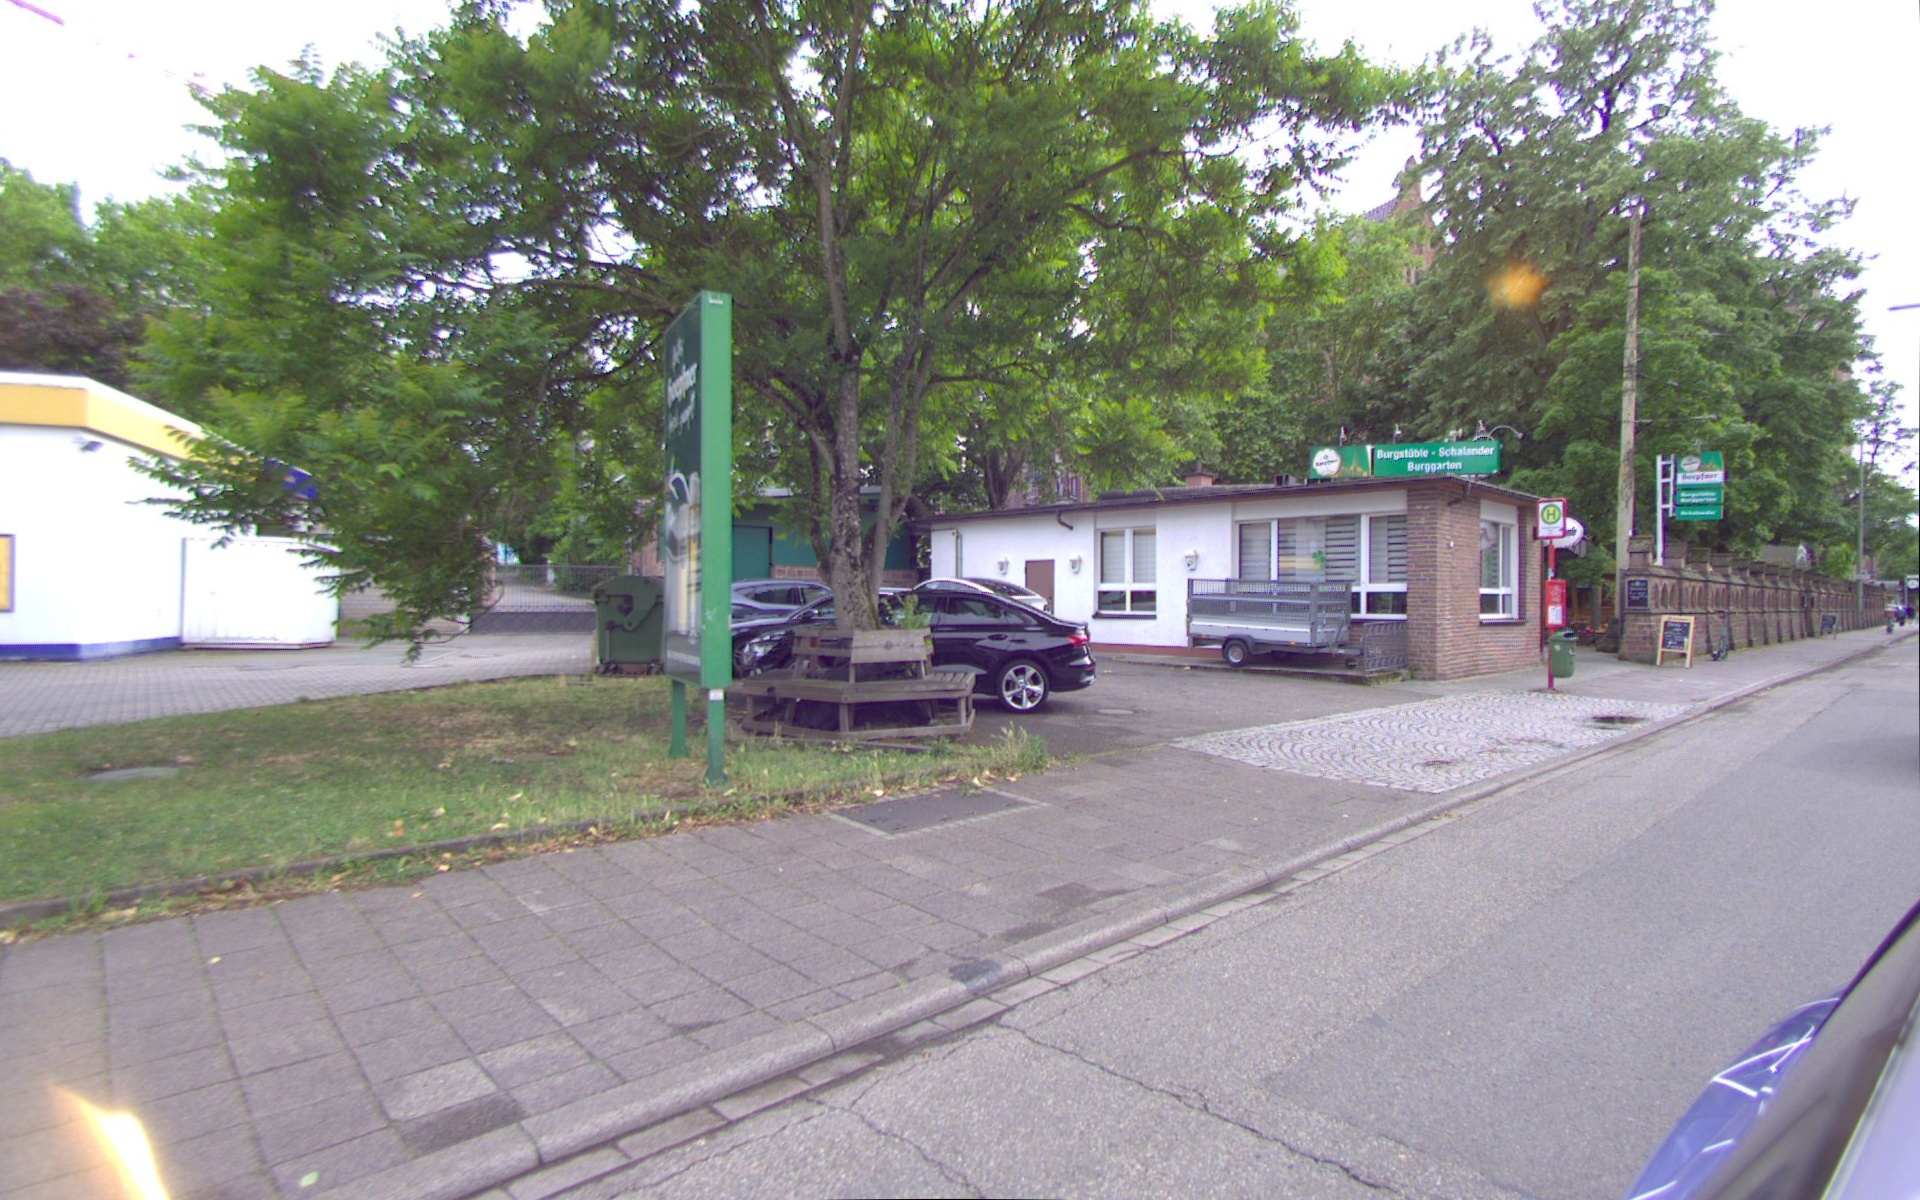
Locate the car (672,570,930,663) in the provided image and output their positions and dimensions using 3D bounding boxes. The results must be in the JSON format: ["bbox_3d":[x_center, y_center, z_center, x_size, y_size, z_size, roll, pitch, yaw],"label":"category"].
[{"bbox_3d":[-2.832,0.286,18.592,4.402,1.477,1.987,2,0,-4],"label":"car"}]

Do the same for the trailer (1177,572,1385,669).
[{"bbox_3d":[5.642,0.317,17.993,1.593,1.558,3.166,-1,1,-42],"label":"trailer"}]

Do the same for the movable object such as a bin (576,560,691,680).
[{"bbox_3d":[-4.564,0.280,14.283,1.102,1.533,1.422,4,-1,-2],"label":"movable object such as a bin"}]

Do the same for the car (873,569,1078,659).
[{"bbox_3d":[0.208,0.251,21.090,1.954,1.667,4.435,0,0,-38],"label":"car"}]

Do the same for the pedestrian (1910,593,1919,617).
[{"bbox_3d":[75.056,0.364,79.378,0.721,1.867,0.884,2,2,44],"label":"pedestrian"}]

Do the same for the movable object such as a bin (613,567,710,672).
[{"bbox_3d":[-4.587,0.308,15.655,1.102,1.510,1.295,2,-2,-3],"label":"movable object such as a bin"}]

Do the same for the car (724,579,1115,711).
[{"bbox_3d":[-0.476,0.507,12.661,4.498,1.425,1.935,1,0,1],"label":"car"}]

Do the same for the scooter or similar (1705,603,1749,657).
[{"bbox_3d":[18.830,0.717,24.825,1.386,1.254,0.577,0,3,-44],"label":"scooter or similar"}]

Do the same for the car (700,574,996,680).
[{"bbox_3d":[-1.714,0.389,16.236,4.454,1.445,1.879,1,3,-1],"label":"car"}]
